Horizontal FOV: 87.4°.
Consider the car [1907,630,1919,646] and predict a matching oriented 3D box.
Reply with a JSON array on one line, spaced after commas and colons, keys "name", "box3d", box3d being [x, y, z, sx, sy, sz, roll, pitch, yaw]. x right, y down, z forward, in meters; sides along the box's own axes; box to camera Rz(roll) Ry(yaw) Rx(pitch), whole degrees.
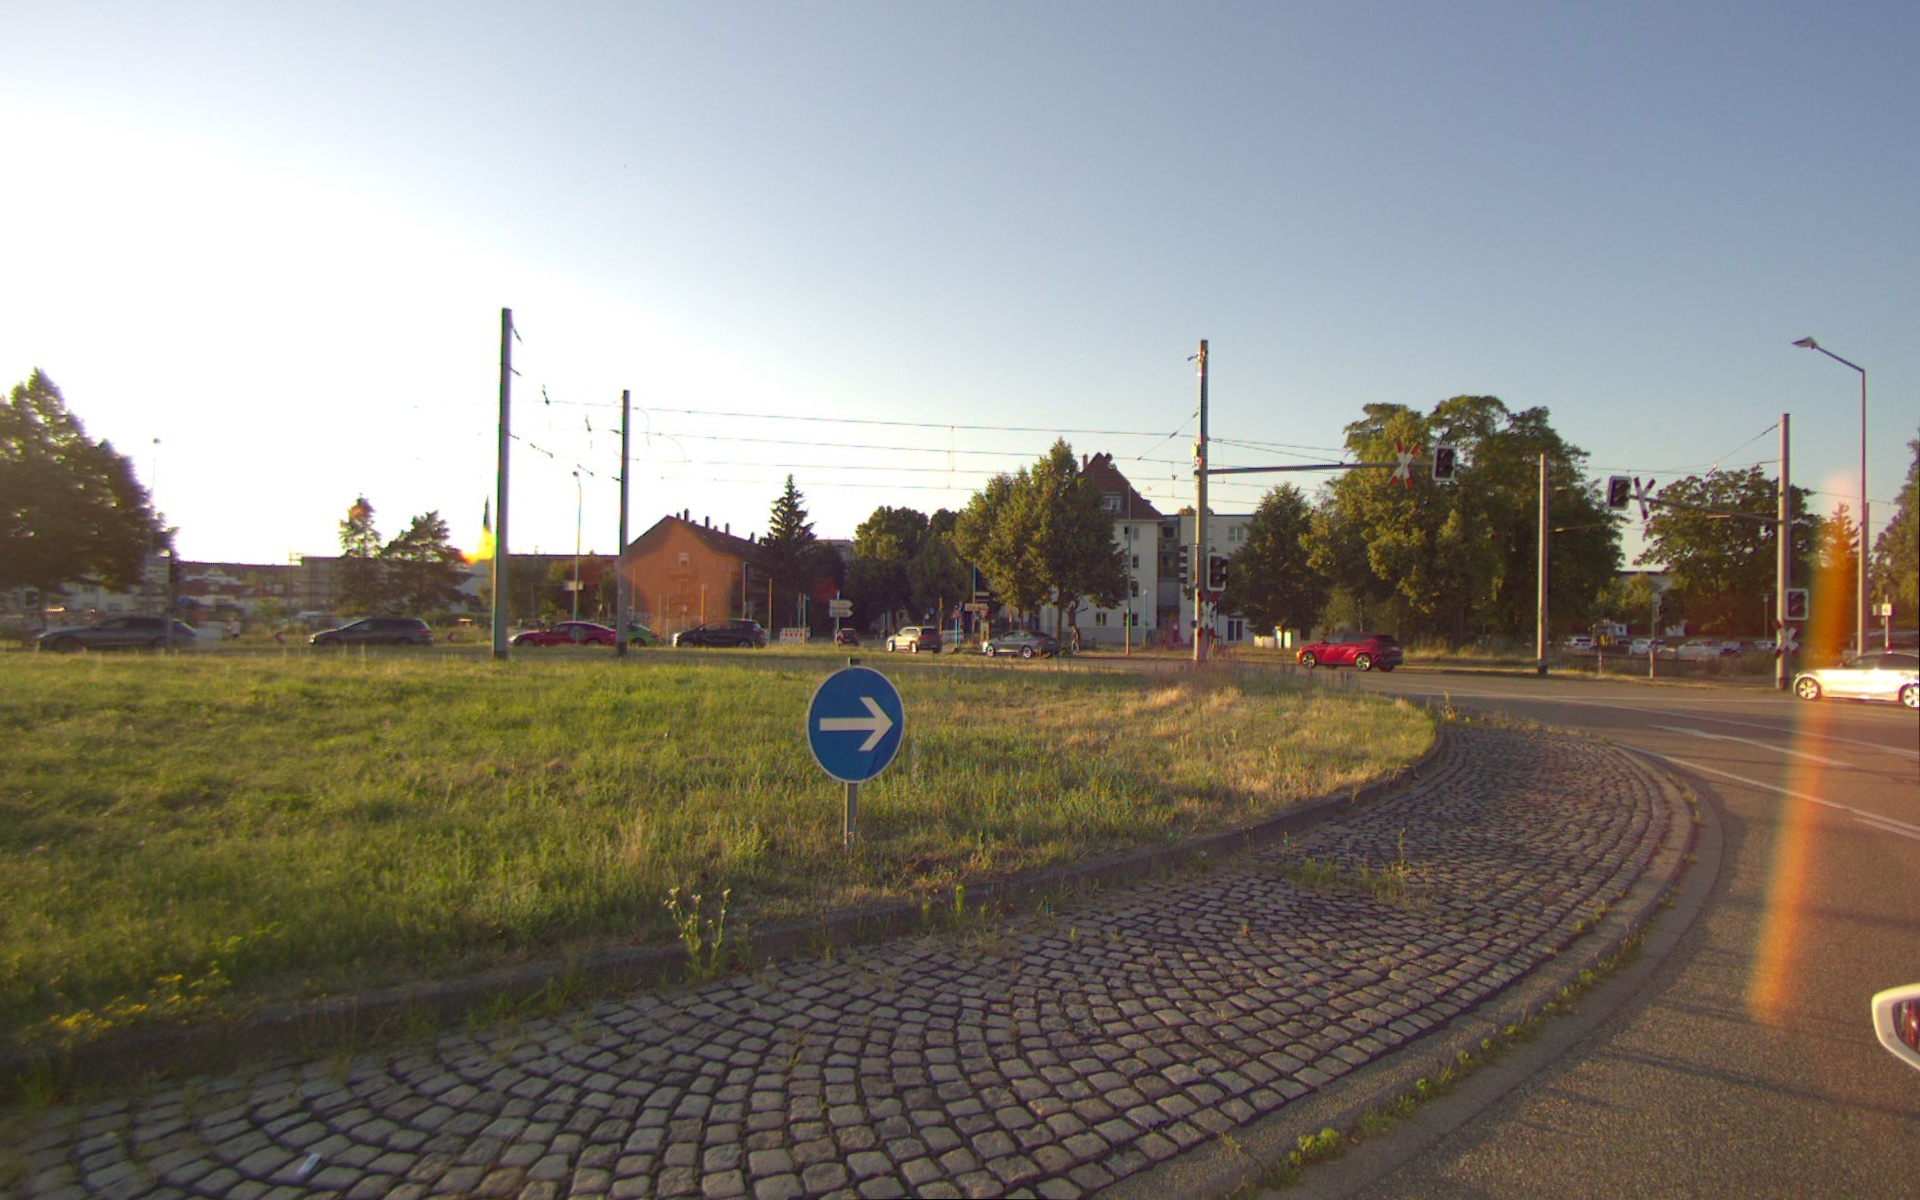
[{"name": "car", "box3d": [105.584, 4.104, 108.739, 1.971, 1.728, 3.979, 1, -1, -22]}]

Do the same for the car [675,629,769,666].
[{"name": "car", "box3d": [-10.757, 2.153, 45.701, 3.925, 1.605, 1.894, 1, -1, -6]}]

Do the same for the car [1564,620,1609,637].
[{"name": "car", "box3d": [79.578, 3.646, 127.643, 4.507, 2.040, 2.000, 1, -1, 0]}]

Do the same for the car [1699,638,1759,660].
[{"name": "car", "box3d": [61.635, 3.905, 80.579, 1.960, 1.625, 4.002, 1, -1, 3]}]

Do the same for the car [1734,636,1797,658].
[{"name": "car", "box3d": [64.015, 3.710, 79.949, 1.960, 1.625, 4.002, 1, -1, 3]}]

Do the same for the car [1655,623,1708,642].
[{"name": "car", "box3d": [80.228, 3.640, 111.759, 4.507, 2.040, 2.000, 1, -1, 0]}]

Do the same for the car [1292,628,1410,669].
[{"name": "car", "box3d": [16.650, 2.038, 42.946, 1.980, 1.594, 4.373, 1, -1, -35]}]

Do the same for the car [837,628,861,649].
[{"name": "car", "box3d": [-9.295, 3.192, 83.797, 1.665, 1.371, 3.993, -8, 1, -10]}]

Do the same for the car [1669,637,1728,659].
[{"name": "car", "box3d": [59.516, 3.844, 81.056, 1.960, 1.625, 4.002, 1, -1, 3]}]

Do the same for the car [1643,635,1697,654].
[{"name": "car", "box3d": [69.210, 4.323, 97.950, 3.919, 1.684, 1.904, 1, -1, 5]}]

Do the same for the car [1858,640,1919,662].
[{"name": "car", "box3d": [73.882, 4.007, 79.644, 1.960, 1.625, 4.002, 1, -1, 3]}]

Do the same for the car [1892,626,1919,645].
[{"name": "car", "box3d": [107.451, 4.021, 112.617, 3.919, 2.040, 2.001, 1, -1, 11]}]

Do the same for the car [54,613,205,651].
[{"name": "car", "box3d": [-31.847, 1.216, 38.697, 4.309, 1.394, 1.980, 1, -1, -36]}]

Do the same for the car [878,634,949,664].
[{"name": "car", "box3d": [-2.936, 3.037, 62.733, 1.986, 1.659, 4.468, 1, -1, -43]}]

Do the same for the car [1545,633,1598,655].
[{"name": "car", "box3d": [49.414, 3.539, 81.247, 1.960, 1.625, 4.002, 1, -1, 3]}]

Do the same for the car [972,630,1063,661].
[{"name": "car", "box3d": [2.972, 2.347, 52.598, 4.602, 1.483, 1.877, 0, -1, 41]}]

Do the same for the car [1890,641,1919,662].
[{"name": "car", "box3d": [76.352, 4.081, 79.493, 1.960, 1.625, 4.002, 1, -1, 3]}]

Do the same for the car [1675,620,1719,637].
[{"name": "car", "box3d": [93.203, 3.583, 127.050, 4.033, 2.040, 2.001, 1, -1, 4]}]

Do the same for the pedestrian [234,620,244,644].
[{"name": "pedestrian", "box3d": [-41.645, 1.850, 58.051, 0.392, 1.325, 0.426, 1, -1, -30]}]

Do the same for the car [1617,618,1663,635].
[{"name": "car", "box3d": [86.252, 3.376, 127.459, 4.505, 2.040, 2.001, 1, -1, 5]}]

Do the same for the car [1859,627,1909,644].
[{"name": "car", "box3d": [108.031, 4.121, 117.468, 3.919, 1.840, 2.001, 1, -1, 5]}]

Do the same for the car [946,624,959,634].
[{"name": "car", "box3d": [-1.259, 5.023, 174.834, 1.960, 1.618, 4.002, 1, -1, 5]}]

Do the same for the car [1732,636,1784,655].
[{"name": "car", "box3d": [77.346, 4.412, 97.433, 3.938, 1.684, 1.894, 0, -1, 39]}]

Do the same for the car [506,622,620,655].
[{"name": "car", "box3d": [-17.690, 1.721, 44.980, 4.416, 1.410, 1.892, 1, -1, -10]}]

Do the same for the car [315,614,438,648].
[{"name": "car", "box3d": [-24.577, 1.316, 42.503, 4.327, 1.394, 1.987, 1, -1, -26]}]

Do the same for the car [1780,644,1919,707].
[{"name": "car", "box3d": [23.565, 1.876, 25.498, 1.833, 1.408, 4.158, 1, -1, -7]}]

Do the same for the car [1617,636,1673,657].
[{"name": "car", "box3d": [54.756, 3.696, 80.355, 1.960, 1.625, 4.002, 1, -1, 3]}]

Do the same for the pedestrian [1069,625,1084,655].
[{"name": "pedestrian", "box3d": [7.535, 2.601, 64.927, 0.614, 1.918, 0.662, 2, 0, -35]}]

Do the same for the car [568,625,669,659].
[{"name": "car", "box3d": [-16.750, 2.067, 49.461, 4.402, 1.600, 1.998, 1, -1, -8]}]

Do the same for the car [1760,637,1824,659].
[{"name": "car", "box3d": [66.368, 3.782, 80.189, 1.960, 1.625, 4.002, 1, -1, 3]}]

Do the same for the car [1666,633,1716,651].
[{"name": "car", "box3d": [73.160, 4.182, 100.594, 3.934, 1.684, 1.994, 0, -1, 35]}]
